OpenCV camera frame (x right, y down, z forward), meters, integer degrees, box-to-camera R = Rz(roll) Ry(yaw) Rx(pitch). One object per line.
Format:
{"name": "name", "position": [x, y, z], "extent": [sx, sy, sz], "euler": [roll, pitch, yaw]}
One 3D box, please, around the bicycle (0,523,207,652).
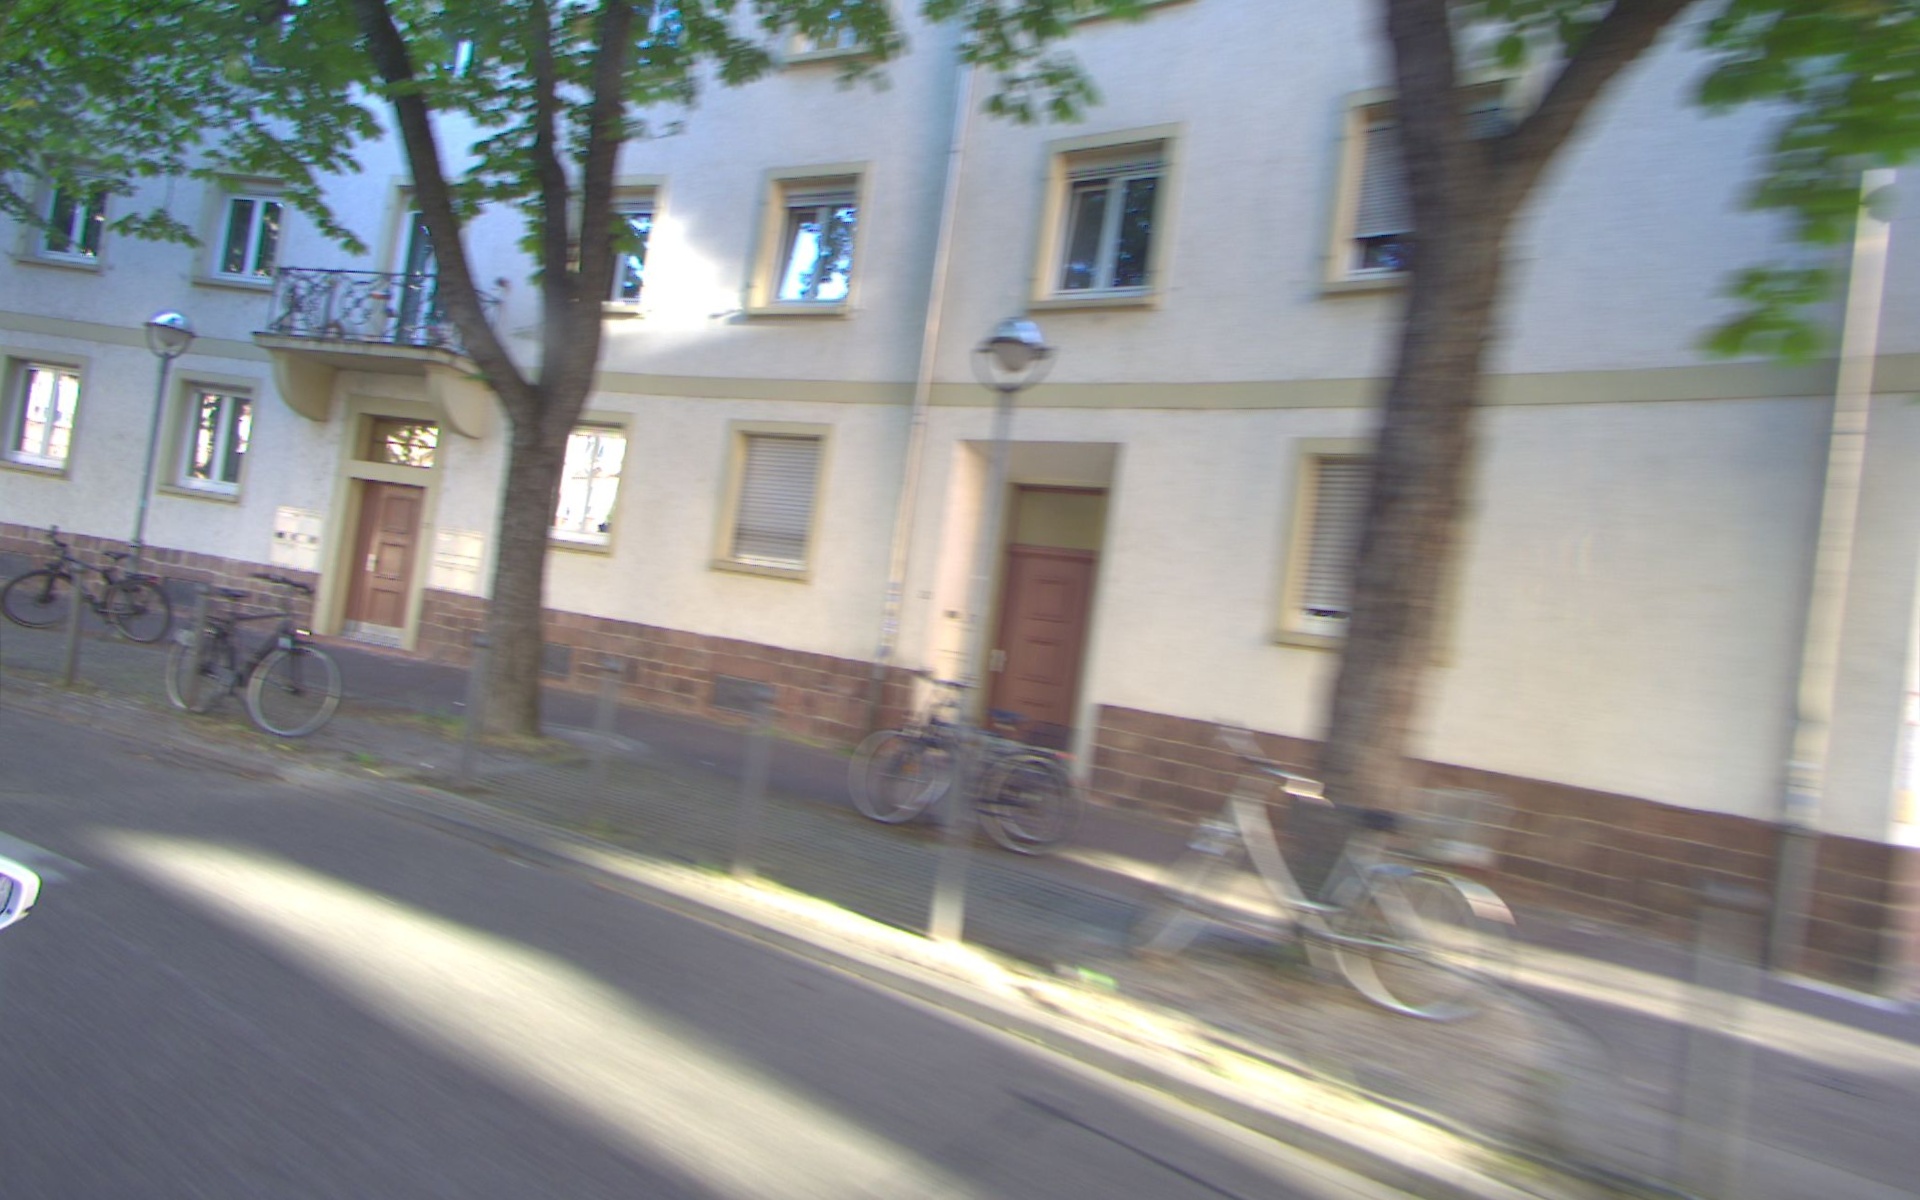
{"name": "bicycle", "position": [-9.656, -0.133, 11.244], "extent": [1.791, 1.197, 0.672], "euler": [7, 1, -8]}

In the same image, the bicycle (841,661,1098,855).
{"name": "bicycle", "position": [0.059, 1.153, 7.592], "extent": [1.769, 1.121, 0.393], "euler": [8, -1, 19]}

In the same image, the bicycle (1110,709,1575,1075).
{"name": "bicycle", "position": [1.688, 1.240, 4.636], "extent": [1.757, 1.195, 0.556], "euler": [8, -1, 21]}

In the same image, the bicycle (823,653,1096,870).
{"name": "bicycle", "position": [-0.017, 1.104, 7.164], "extent": [1.752, 1.194, 0.439], "euler": [8, -1, 21]}

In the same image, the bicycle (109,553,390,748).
{"name": "bicycle", "position": [-5.452, 0.361, 7.708], "extent": [1.964, 1.172, 0.682], "euler": [7, -1, 21]}
